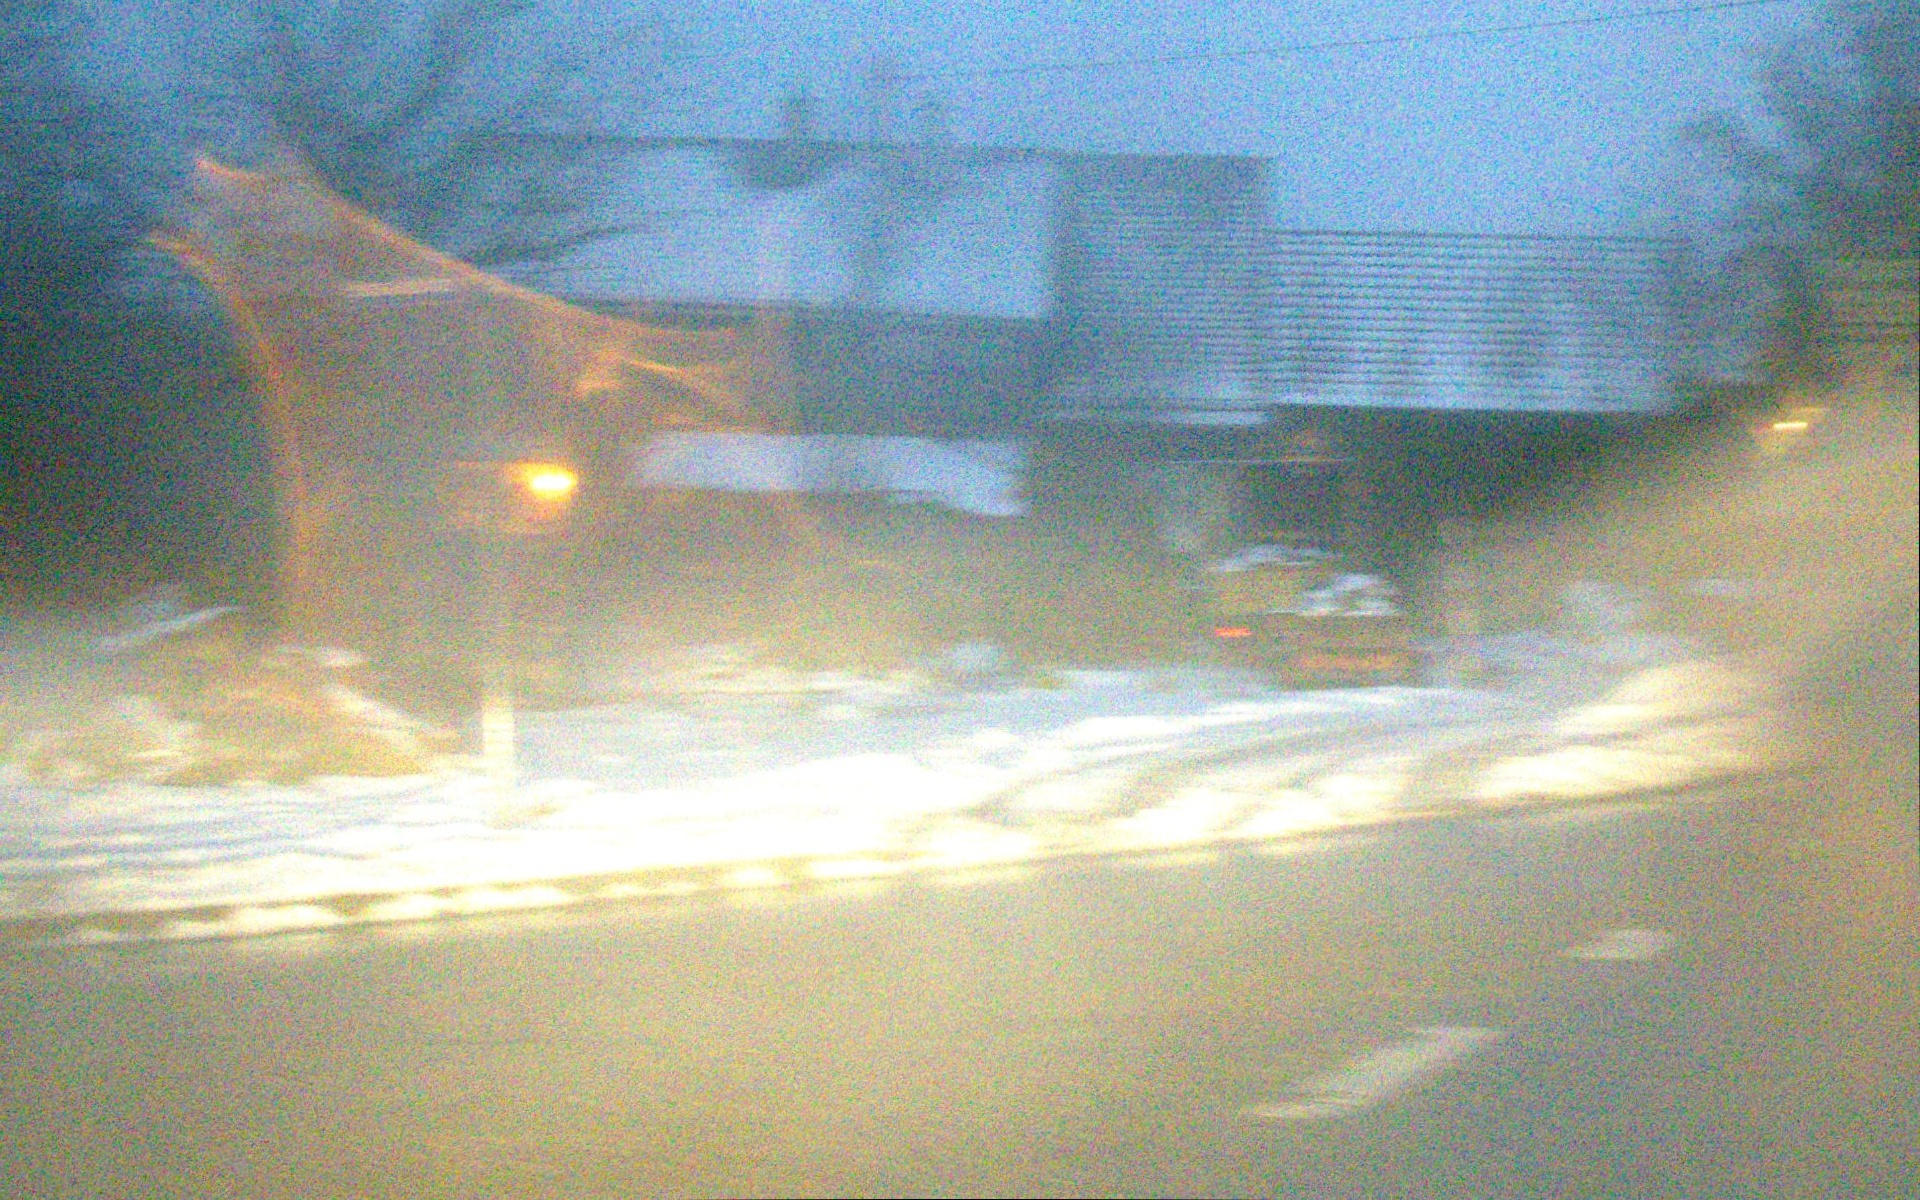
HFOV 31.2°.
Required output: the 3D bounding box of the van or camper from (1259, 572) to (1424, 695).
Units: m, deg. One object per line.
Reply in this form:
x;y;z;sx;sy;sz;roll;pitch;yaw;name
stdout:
3.655;0.334;33.300;1.283;1.098;3.272;1;-1;1;van or camper
